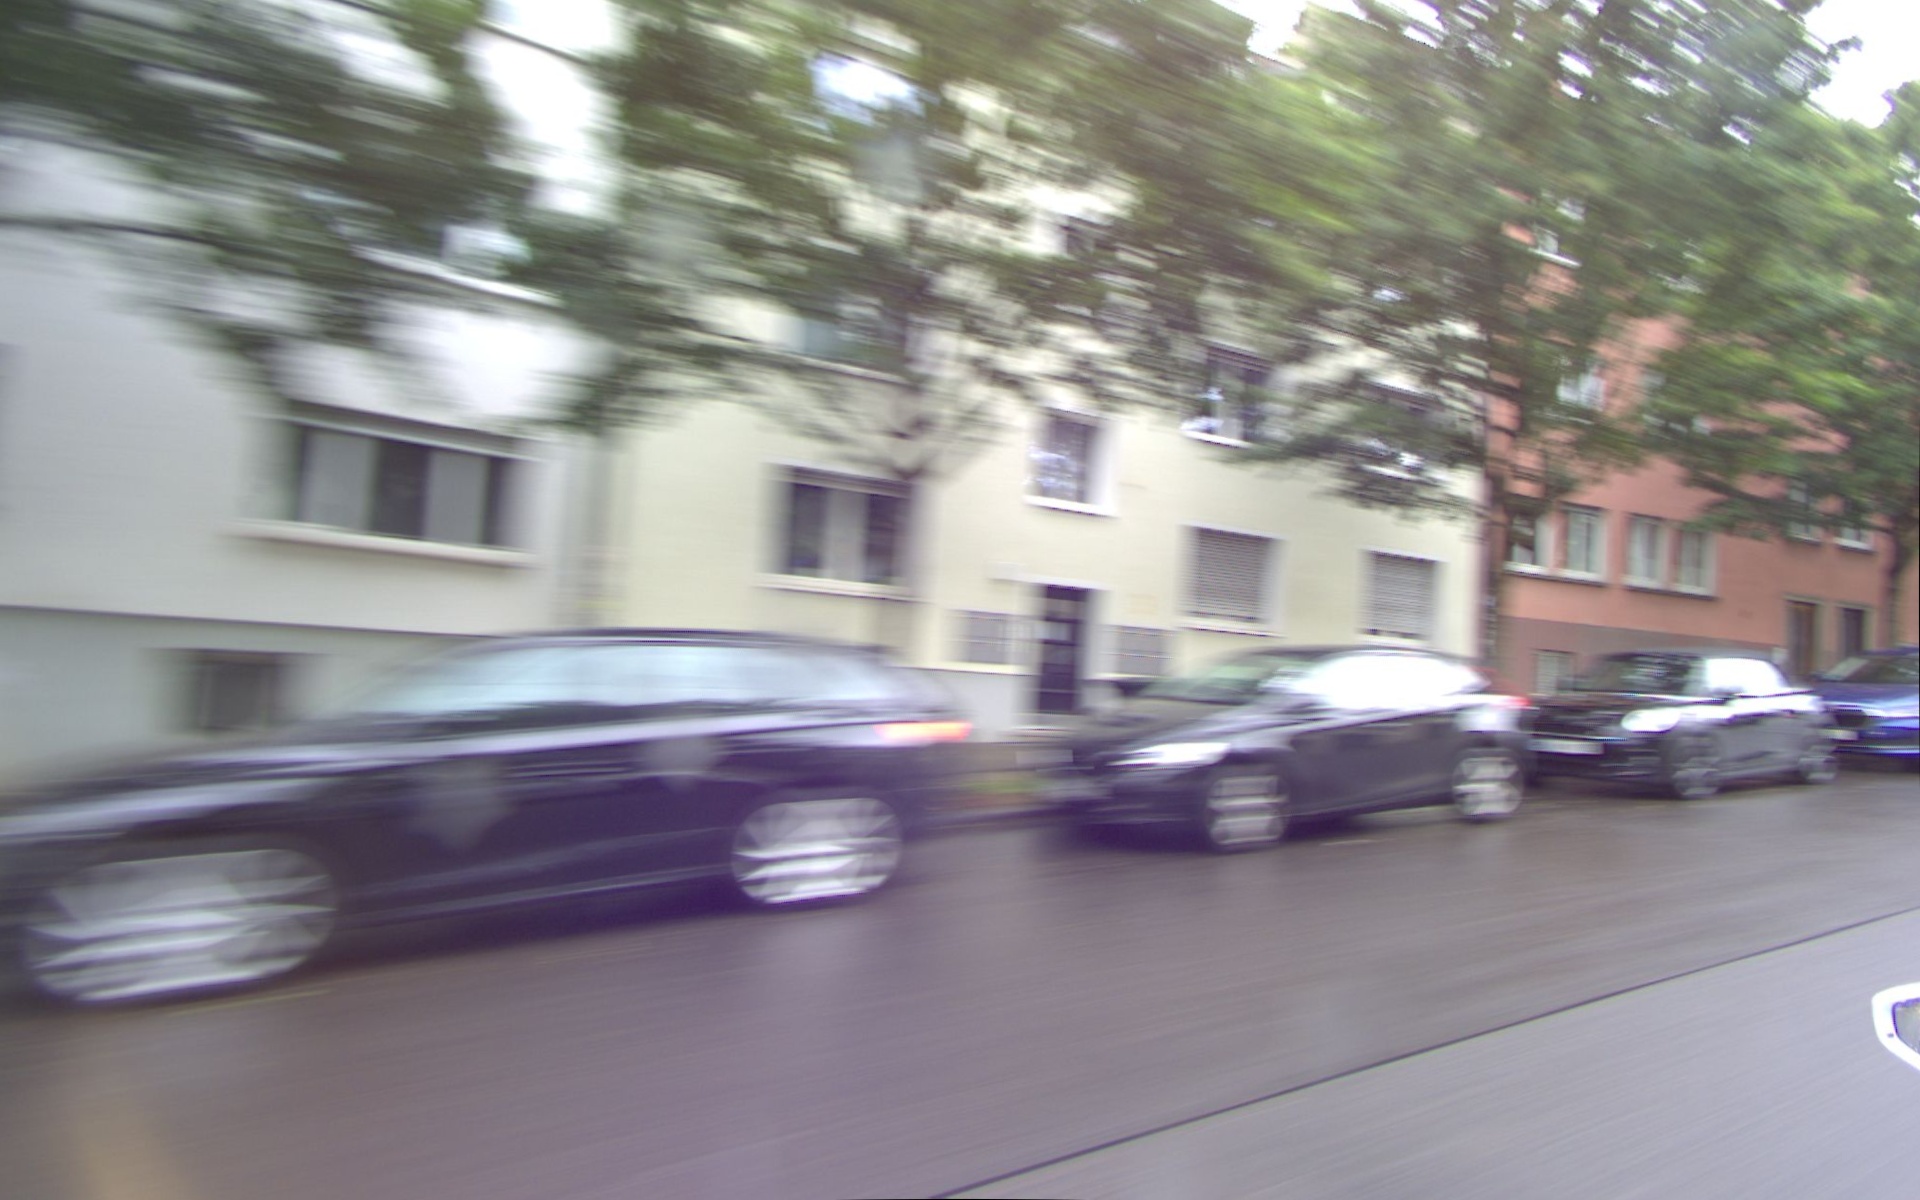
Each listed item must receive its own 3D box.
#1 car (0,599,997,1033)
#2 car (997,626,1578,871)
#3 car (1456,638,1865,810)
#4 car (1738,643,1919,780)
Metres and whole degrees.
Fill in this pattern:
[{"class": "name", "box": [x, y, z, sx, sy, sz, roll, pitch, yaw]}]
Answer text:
[{"class": "car", "box": [-2.127, 0.851, 5.350, 4.448, 1.512, 1.778, 2, -3, -32]}, {"class": "car", "box": [2.731, 1.017, 8.152, 4.585, 1.513, 1.781, 2, -1, -27]}, {"class": "car", "box": [7.515, 1.184, 10.722, 4.305, 1.513, 1.781, 2, -2, -27]}, {"class": "car", "box": [12.494, 1.328, 12.918, 4.791, 1.513, 1.784, 1, -2, -22]}]
